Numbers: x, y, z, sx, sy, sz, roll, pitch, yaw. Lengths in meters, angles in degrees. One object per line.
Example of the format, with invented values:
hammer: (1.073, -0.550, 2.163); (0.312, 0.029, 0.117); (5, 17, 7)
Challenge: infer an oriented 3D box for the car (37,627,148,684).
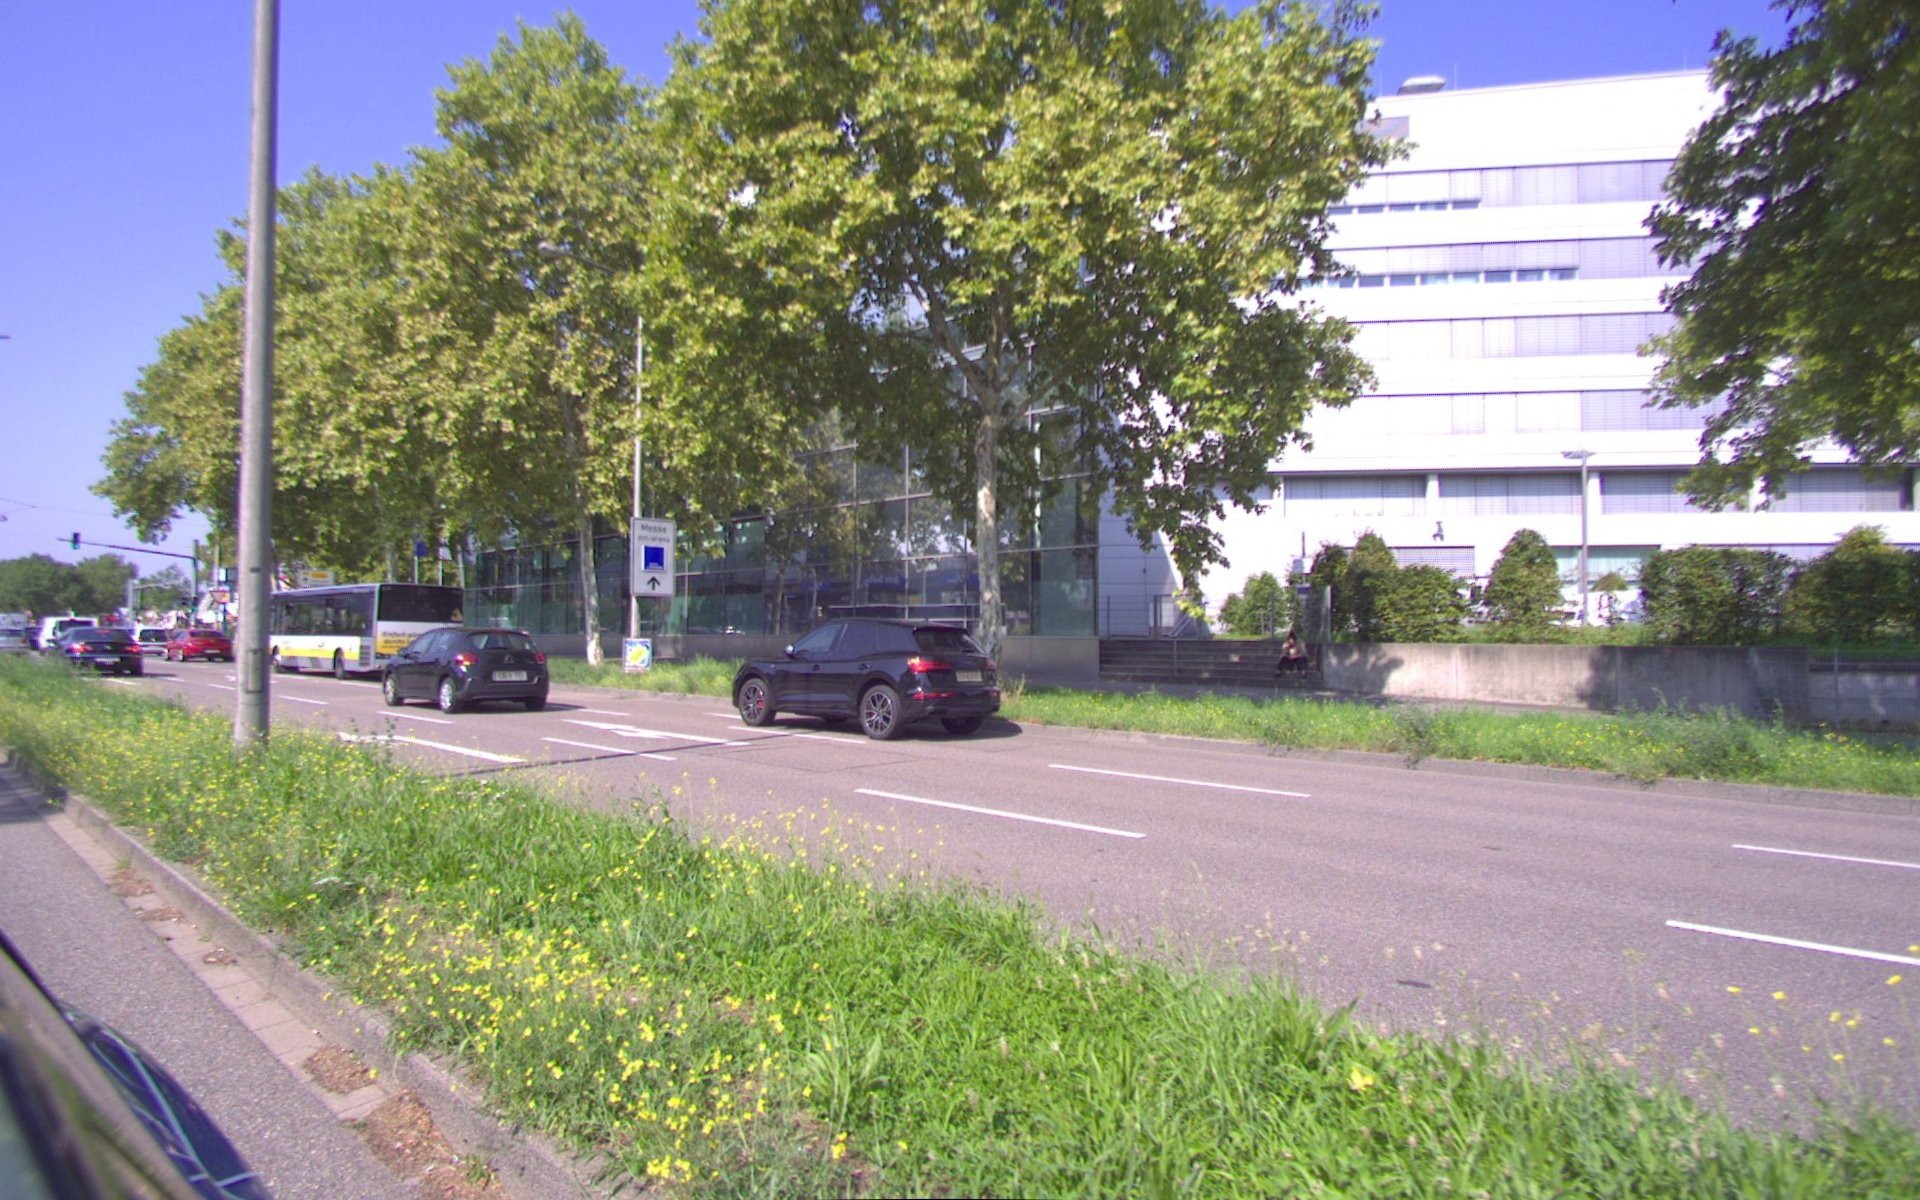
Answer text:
car: (-24.797, 1.557, 28.877); (4.643, 1.501, 1.825); (-2, -4, 43)

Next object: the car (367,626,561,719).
car: (-9.102, 1.245, 18.409); (4.312, 1.501, 1.686); (-2, -3, 43)

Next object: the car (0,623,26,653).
car: (-65.191, 2.587, 68.762); (5.209, 1.973, 1.907); (-3, -3, 41)

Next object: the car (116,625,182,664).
car: (-42.572, 2.324, 53.115); (3.973, 1.910, 1.907); (-1, -4, 41)

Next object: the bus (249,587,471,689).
bus: (-18.882, 1.173, 31.371); (10.902, 2.715, 2.633); (-1, -4, 42)

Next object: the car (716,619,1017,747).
car: (-1.519, 1.143, 15.031); (4.610, 1.617, 1.825); (-2, -4, 43)

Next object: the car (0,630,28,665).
car: (-44.181, 2.187, 46.398); (4.099, 1.547, 1.597); (-3, -5, 41)

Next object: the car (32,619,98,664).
car: (-45.116, 2.046, 50.975); (5.190, 1.975, 1.906); (2, -2, 43)

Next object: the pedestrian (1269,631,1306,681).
pedestrian: (7.697, 1.318, 23.765); (0.561, 1.118, 0.728); (-5, -3, 37)
